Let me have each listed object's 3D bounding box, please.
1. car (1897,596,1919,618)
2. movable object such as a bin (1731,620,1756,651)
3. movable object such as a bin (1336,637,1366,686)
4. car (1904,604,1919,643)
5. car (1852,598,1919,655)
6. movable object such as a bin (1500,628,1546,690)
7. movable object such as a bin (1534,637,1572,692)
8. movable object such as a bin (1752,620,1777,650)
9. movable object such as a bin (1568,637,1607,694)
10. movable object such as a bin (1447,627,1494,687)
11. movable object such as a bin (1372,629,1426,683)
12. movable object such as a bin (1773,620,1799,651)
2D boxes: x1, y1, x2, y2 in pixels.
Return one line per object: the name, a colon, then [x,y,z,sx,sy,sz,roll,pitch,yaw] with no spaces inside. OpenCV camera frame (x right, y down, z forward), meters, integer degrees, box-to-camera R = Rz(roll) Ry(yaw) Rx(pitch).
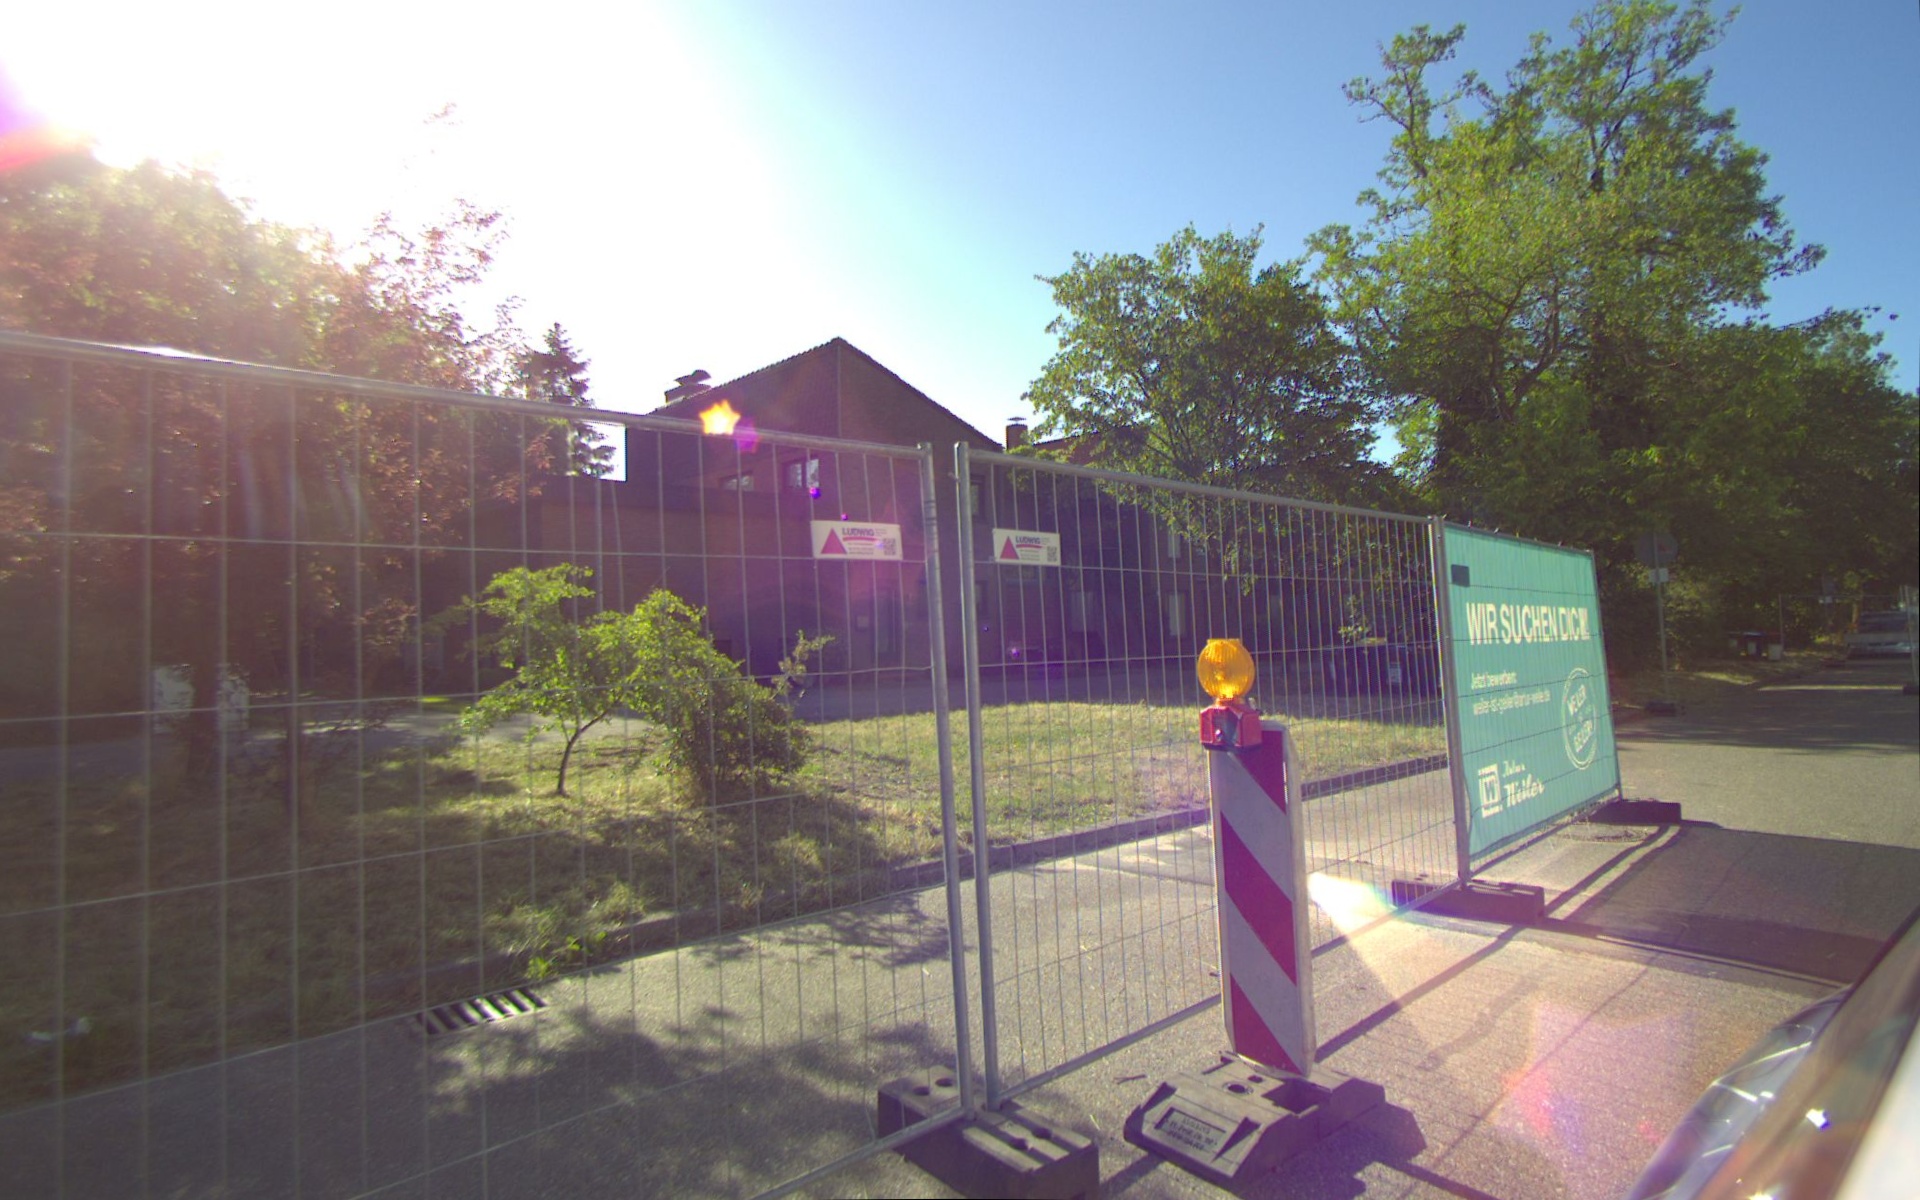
car: [89.619,0.638,92.848,1.966,2.030,5.260,1,-1,-43]
movable object such as a bin: [23.091,1.047,29.829,0.550,0.872,0.484,1,-3,-44]
movable object such as a bin: [7.473,1.161,19.339,0.424,0.893,0.518,-1,0,37]
car: [39.429,0.909,40.864,2.629,1.529,1.496,0,-3,-40]
car: [28.786,0.801,31.027,4.067,1.643,1.680,0,-3,-43]
movable object such as a bin: [9.637,0.995,17.327,0.597,1.012,0.519,0,0,-41]
movable object such as a bin: [9.868,1.061,16.836,0.476,0.881,0.413,0,0,-41]
movable object such as a bin: [23.431,1.018,29.470,0.550,0.872,0.484,1,-3,-44]
movable object such as a bin: [10.242,1.061,16.510,0.476,0.881,0.413,0,0,-41]
movable object such as a bin: [9.056,0.996,17.950,0.597,1.012,0.563,0,0,-41]
movable object such as a bin: [8.176,1.034,18.853,0.683,0.940,0.695,0,0,-41]
movable object such as a bin: [23.773,1.020,29.117,0.550,0.872,0.484,1,-3,-44]
